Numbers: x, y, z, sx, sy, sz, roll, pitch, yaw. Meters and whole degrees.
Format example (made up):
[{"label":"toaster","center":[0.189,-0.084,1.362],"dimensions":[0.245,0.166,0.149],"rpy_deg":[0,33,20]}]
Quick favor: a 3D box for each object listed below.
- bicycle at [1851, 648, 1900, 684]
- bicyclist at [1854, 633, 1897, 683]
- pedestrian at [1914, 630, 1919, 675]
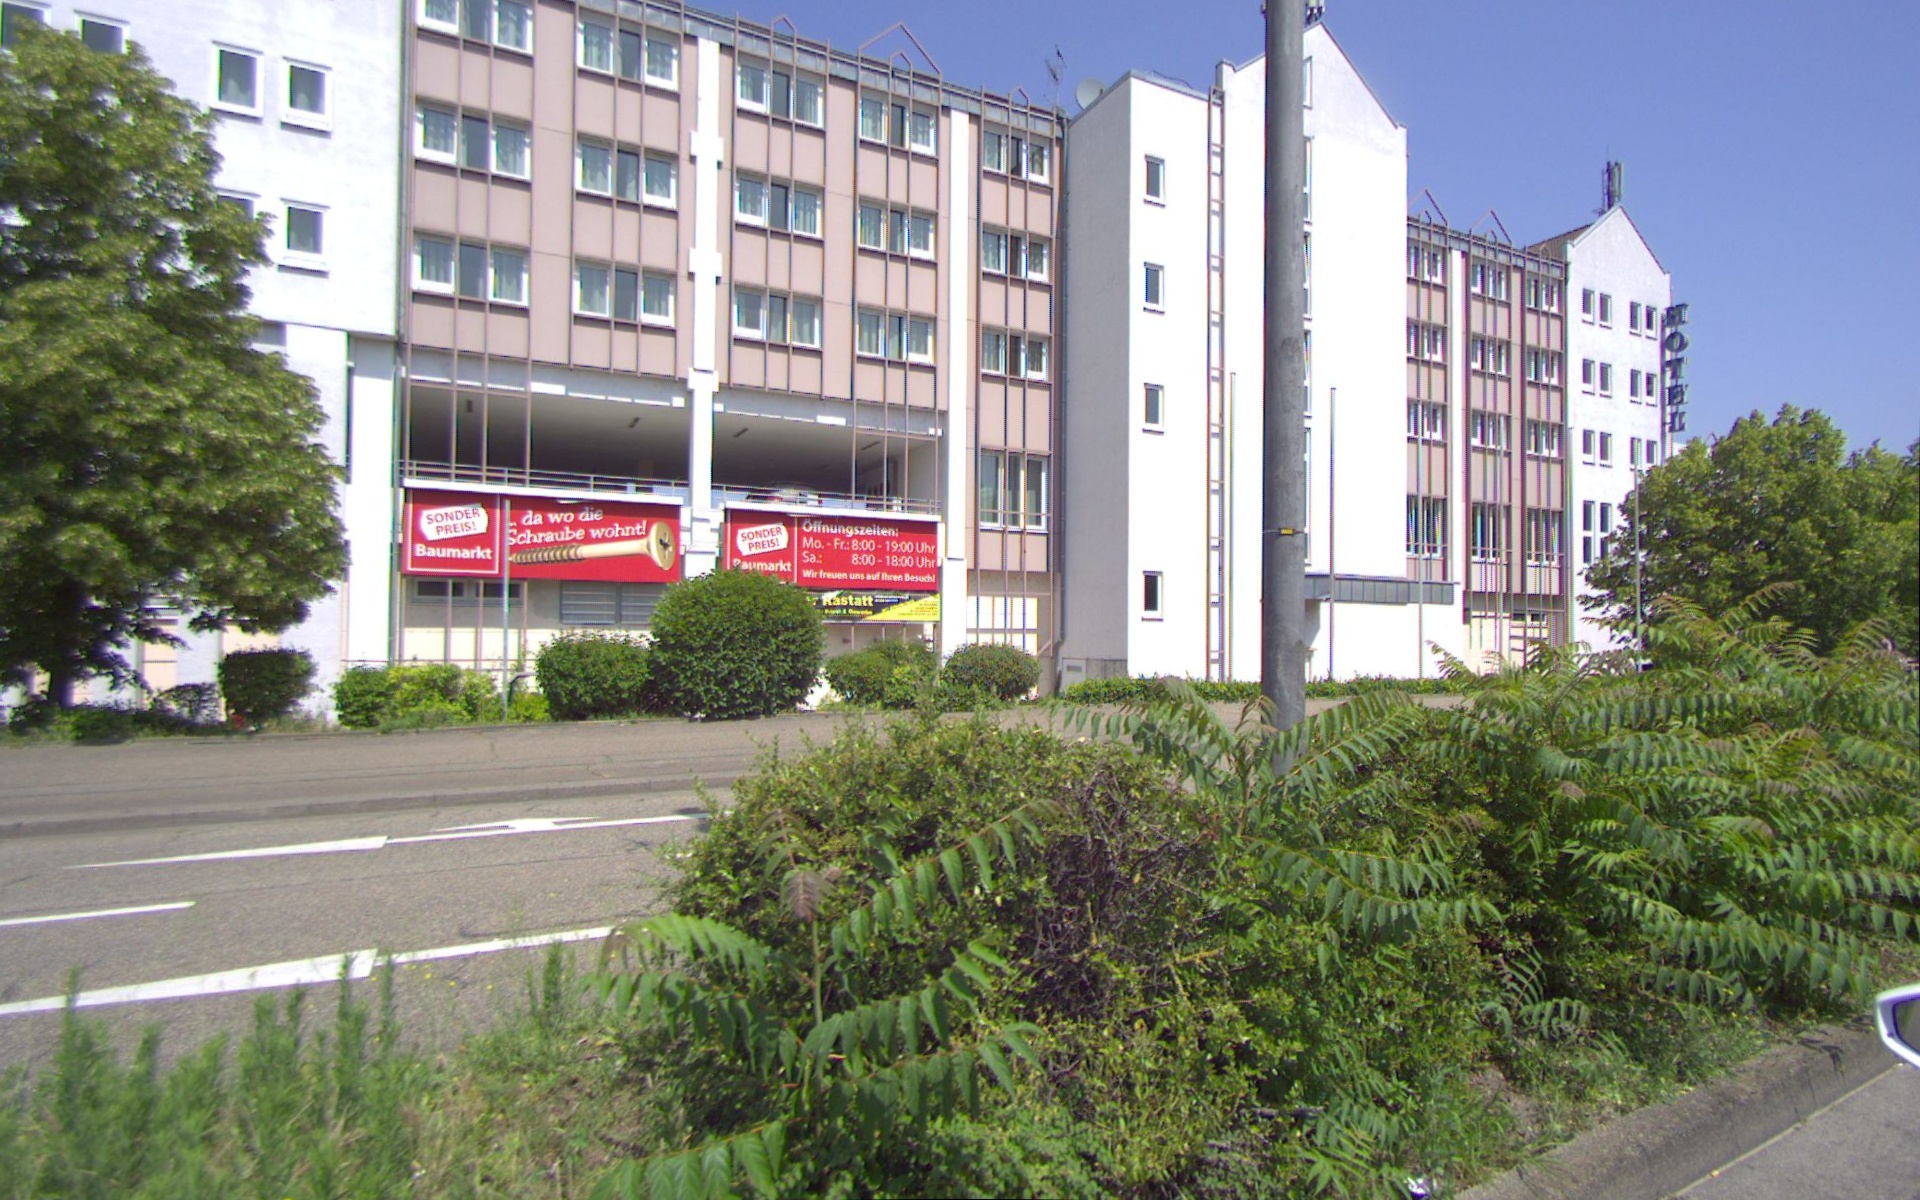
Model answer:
[{"label":"bicycle","center":[28.508,2.045,31.257],"dimensions":[2.038,1.087,0.548],"rpy_deg":[1,-1,-30]},{"label":"bicyclist","center":[28.511,1.796,31.283],"dimensions":[1.015,1.536,0.714],"rpy_deg":[1,-2,-31]},{"label":"pedestrian","center":[33.717,1.831,34.887],"dimensions":[0.718,1.565,0.630],"rpy_deg":[1,-2,-27]}]
